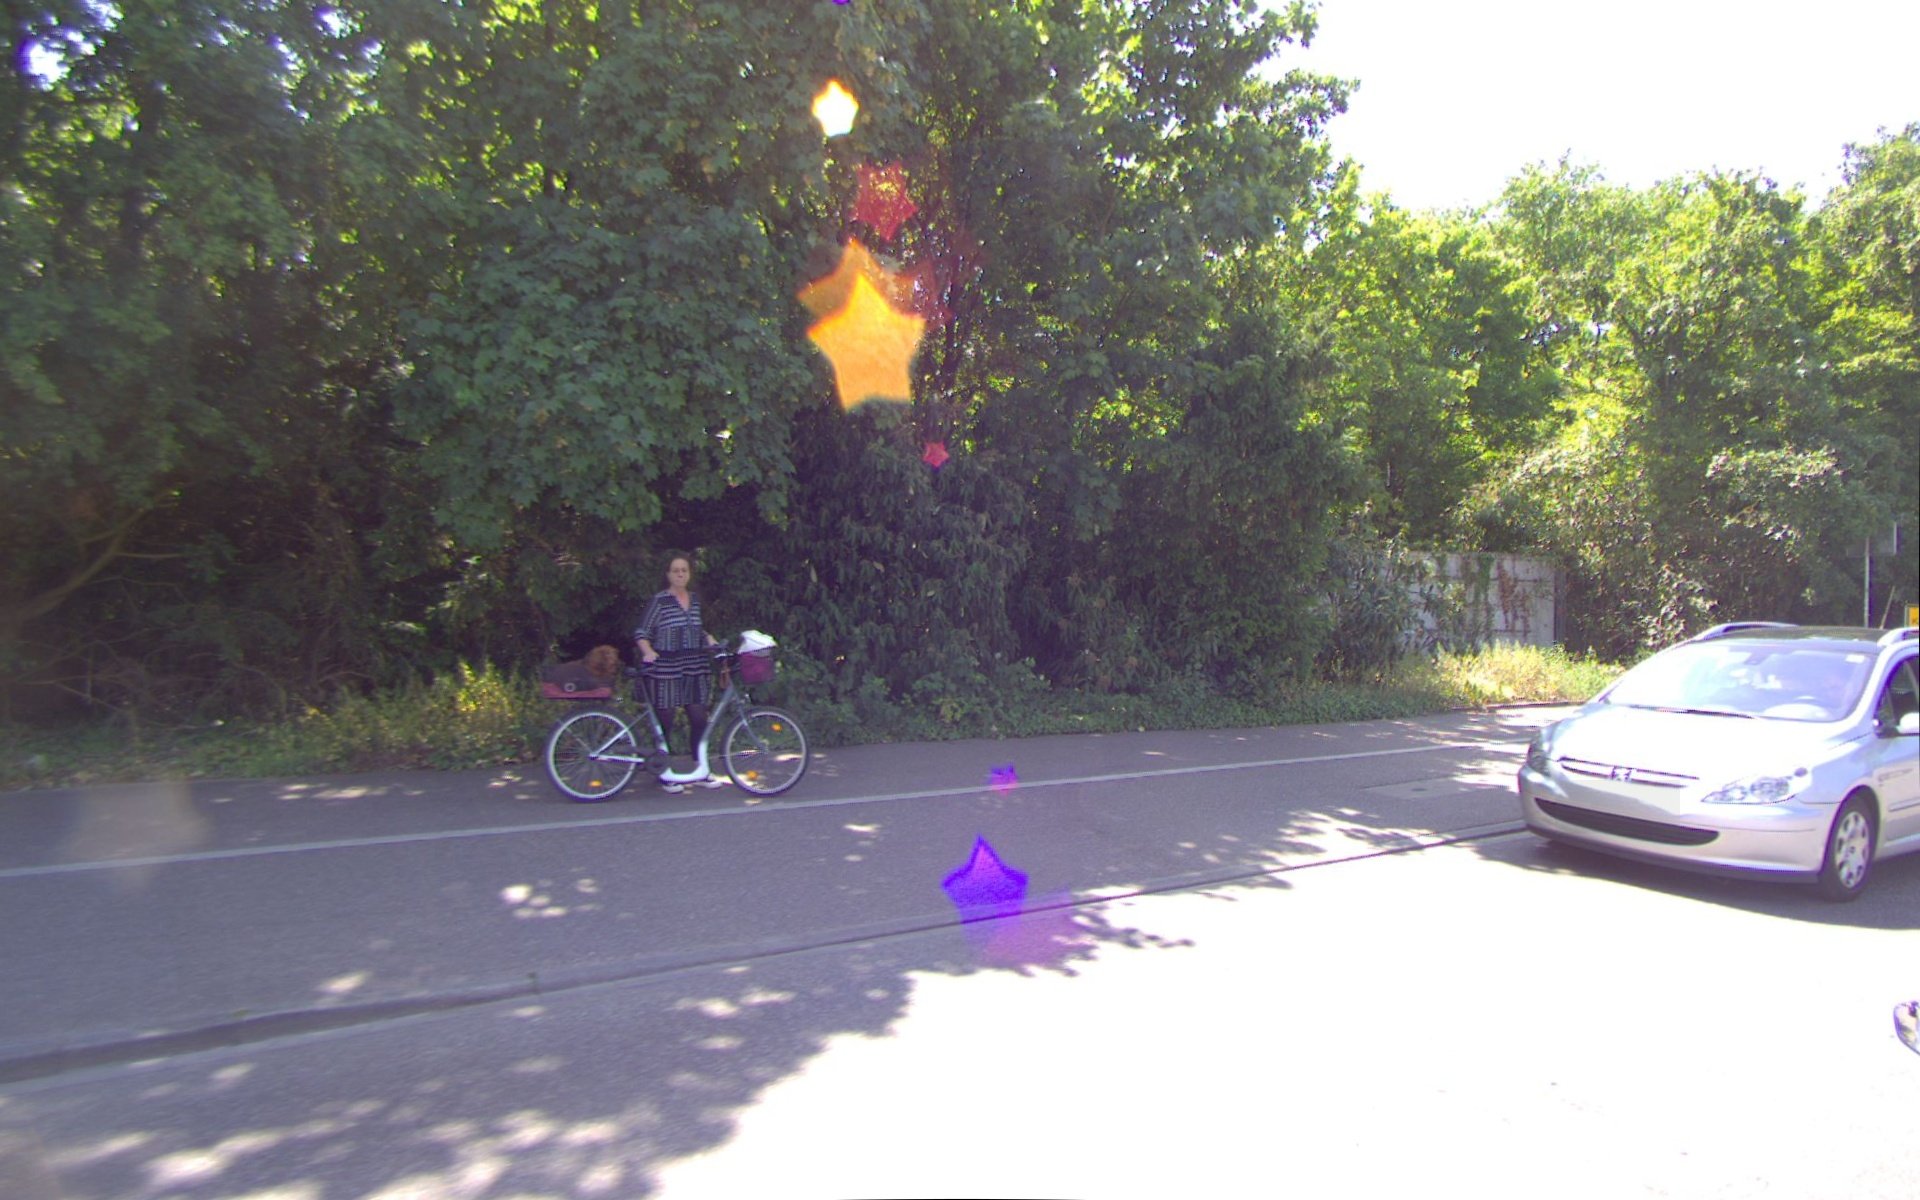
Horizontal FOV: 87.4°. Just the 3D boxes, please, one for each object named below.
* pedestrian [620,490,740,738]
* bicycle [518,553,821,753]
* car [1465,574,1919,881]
[{"bbox_3d":[-2.078,0.104,7.532,0.763,1.741,0.808,2,1,-14],"label":"pedestrian"},{"bbox_3d":[-2.046,0.388,7.216,1.930,1.253,0.521,5,1,-18],"label":"bicycle"},{"bbox_3d":[5.687,0.716,7.042,4.220,1.593,1.784,2,-1,-29],"label":"car"}]
